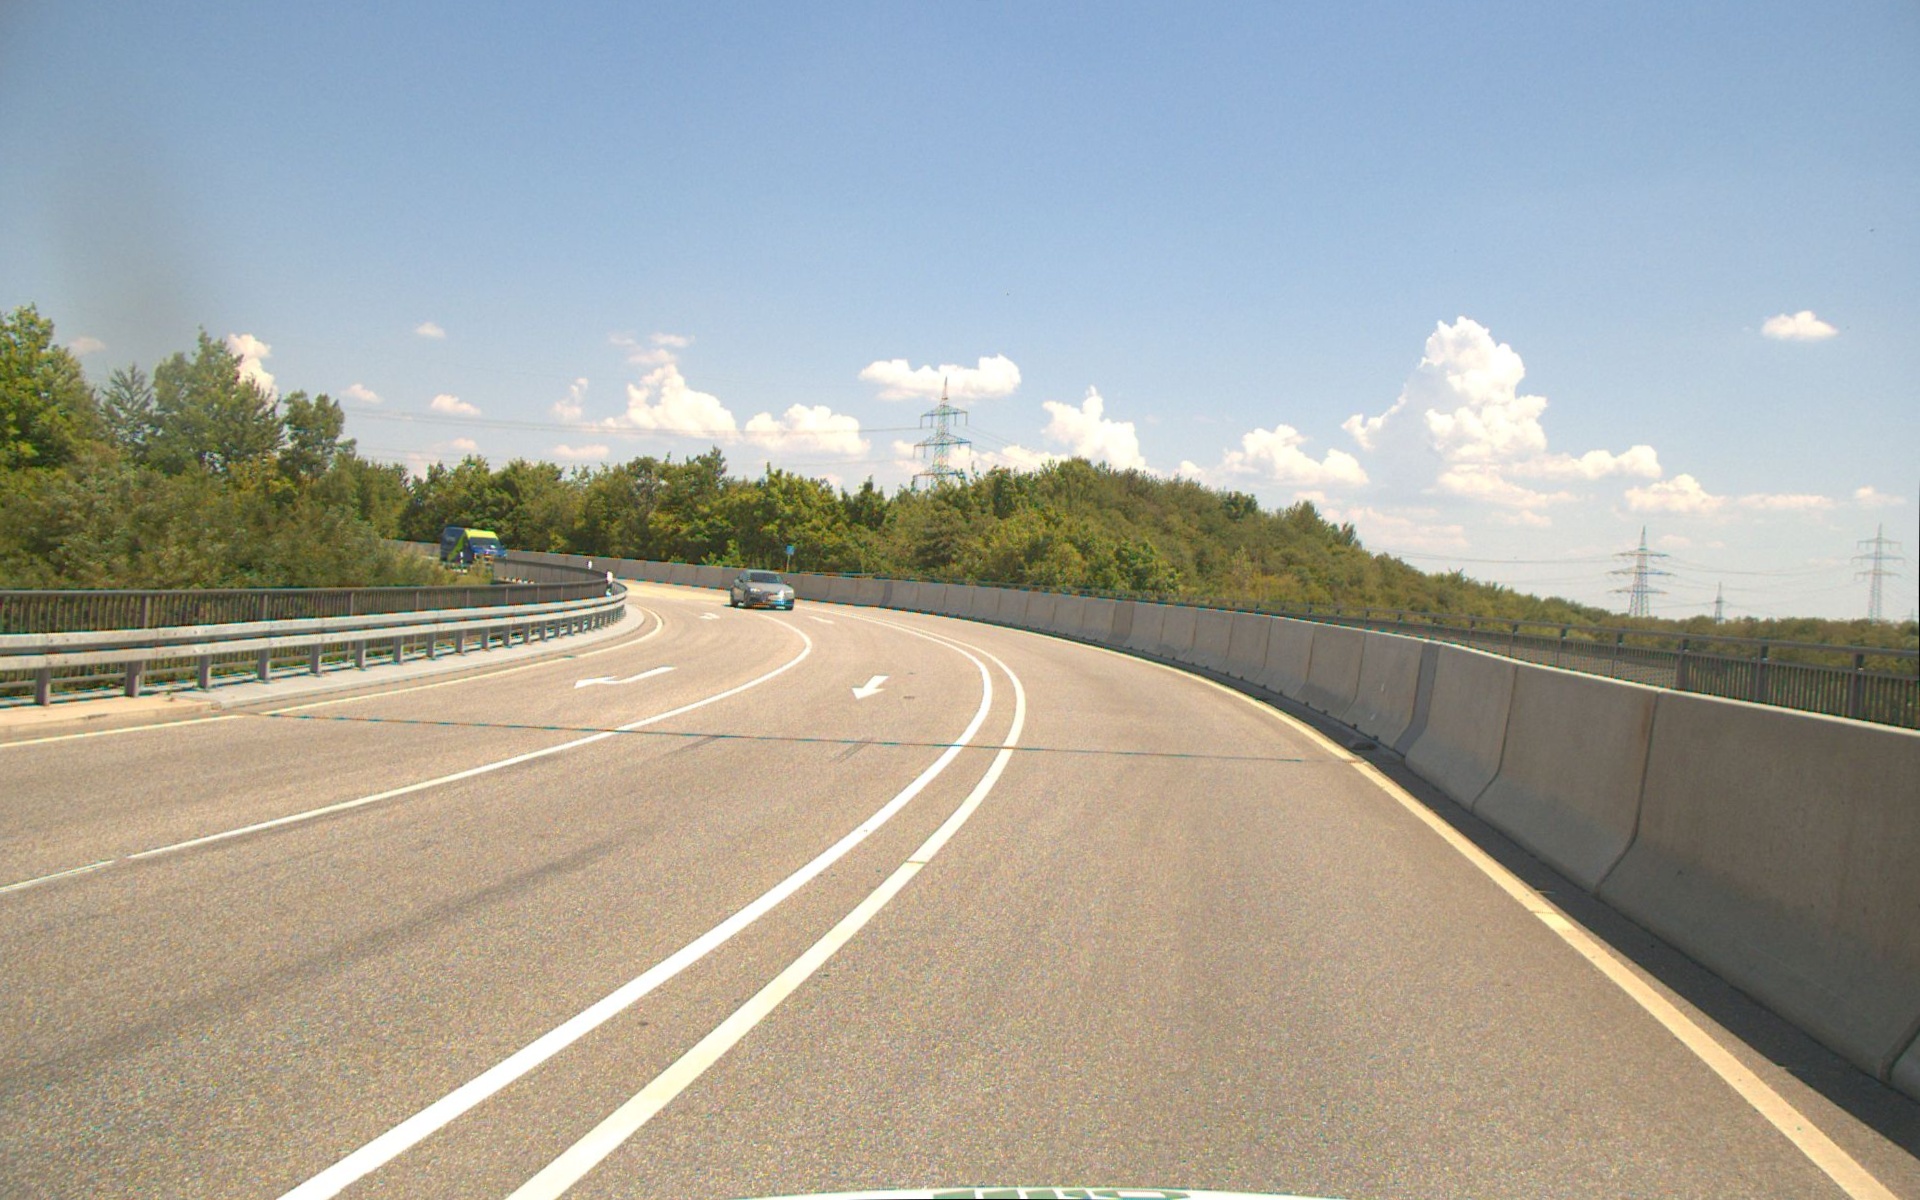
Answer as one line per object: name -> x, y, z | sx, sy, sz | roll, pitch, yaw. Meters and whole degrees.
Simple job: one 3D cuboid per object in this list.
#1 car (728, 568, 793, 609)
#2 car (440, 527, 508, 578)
car -> -7.573, -0.470, 62.576 | 1.750, 1.408, 4.263 | 2, 1, -16
car -> -27.397, -2.715, 93.148 | 1.977, 2.525, 5.417 | -7, 7, -34
